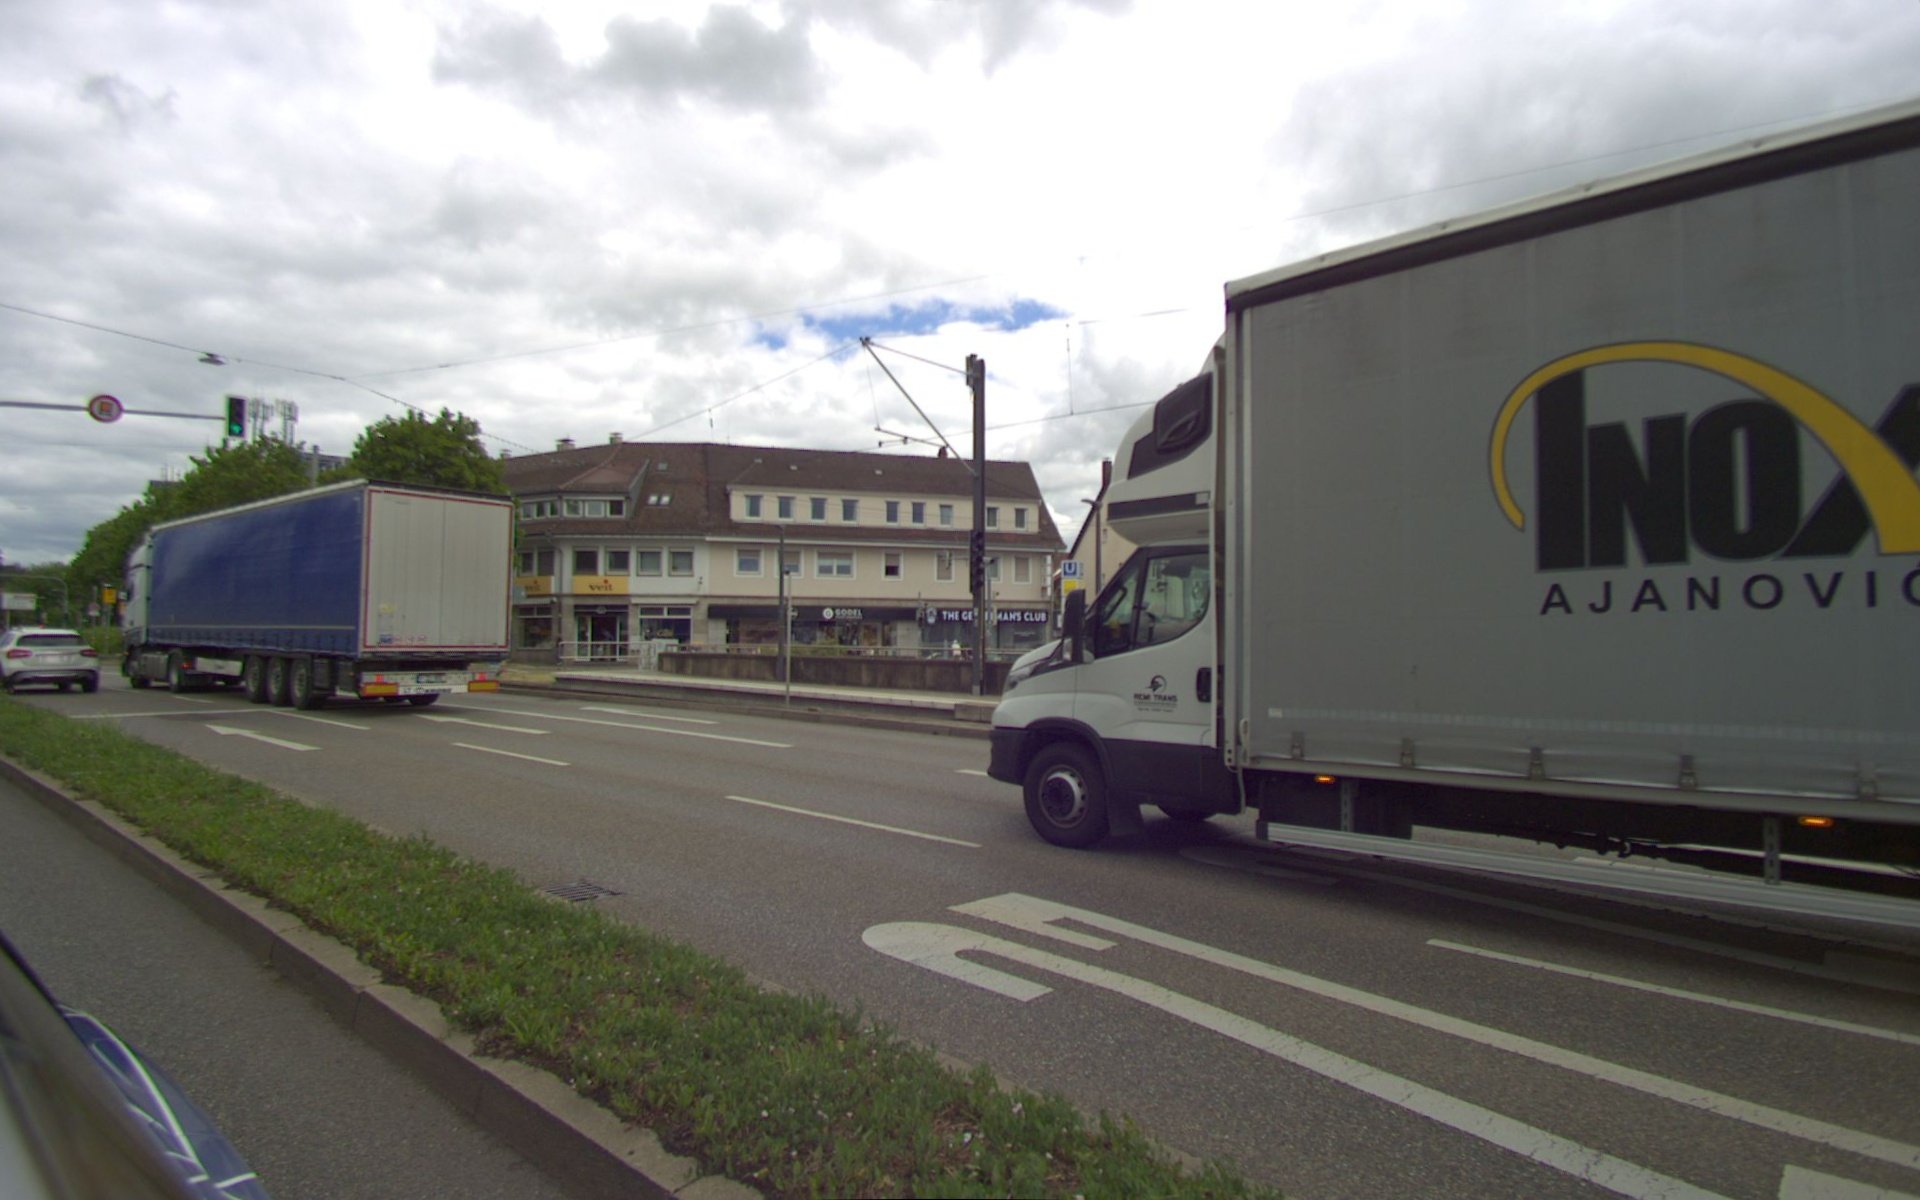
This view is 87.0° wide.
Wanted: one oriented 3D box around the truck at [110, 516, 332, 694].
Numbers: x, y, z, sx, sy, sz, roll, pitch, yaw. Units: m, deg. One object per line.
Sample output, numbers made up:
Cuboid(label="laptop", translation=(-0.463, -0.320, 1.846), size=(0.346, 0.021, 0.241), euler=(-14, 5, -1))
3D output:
Cuboid(label="truck", translation=(-19.163, 0.253, 26.156), size=(6.148, 4.053, 3.061), euler=(-2, -3, 39))

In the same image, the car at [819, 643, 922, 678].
Cuboid(label="car", translation=(-4.020, 2.697, 45.742), size=(4.289, 1.528, 1.797), euler=(2, -3, -30))

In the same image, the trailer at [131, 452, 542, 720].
Cuboid(label="trailer", translation=(-14.346, 0.024, 22.151), size=(14.834, 4.302, 3.071), euler=(-2, -3, 40))

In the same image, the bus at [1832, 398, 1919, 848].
Cuboid(label="bus", translation=(16.397, 0.149, 4.167), size=(19.332, 3.889, 3.836), euler=(-1, -3, 41))

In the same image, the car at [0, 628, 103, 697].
Cuboid(label="car", translation=(-22.398, 1.465, 24.441), size=(4.359, 1.528, 1.769), euler=(-2, -3, 39))

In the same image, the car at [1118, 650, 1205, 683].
Cuboid(label="car", translation=(10.627, 3.485, 53.406), size=(4.003, 1.664, 2.006), euler=(1, -3, -20))

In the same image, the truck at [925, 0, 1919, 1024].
Cuboid(label="truck", translation=(4.130, -0.288, 5.431), size=(9.164, 3.988, 2.906), euler=(-2, -5, 43))

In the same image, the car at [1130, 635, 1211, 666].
Cuboid(label="car", translation=(11.872, 2.850, 57.257), size=(4.004, 1.664, 2.006), euler=(1, -3, -16))
